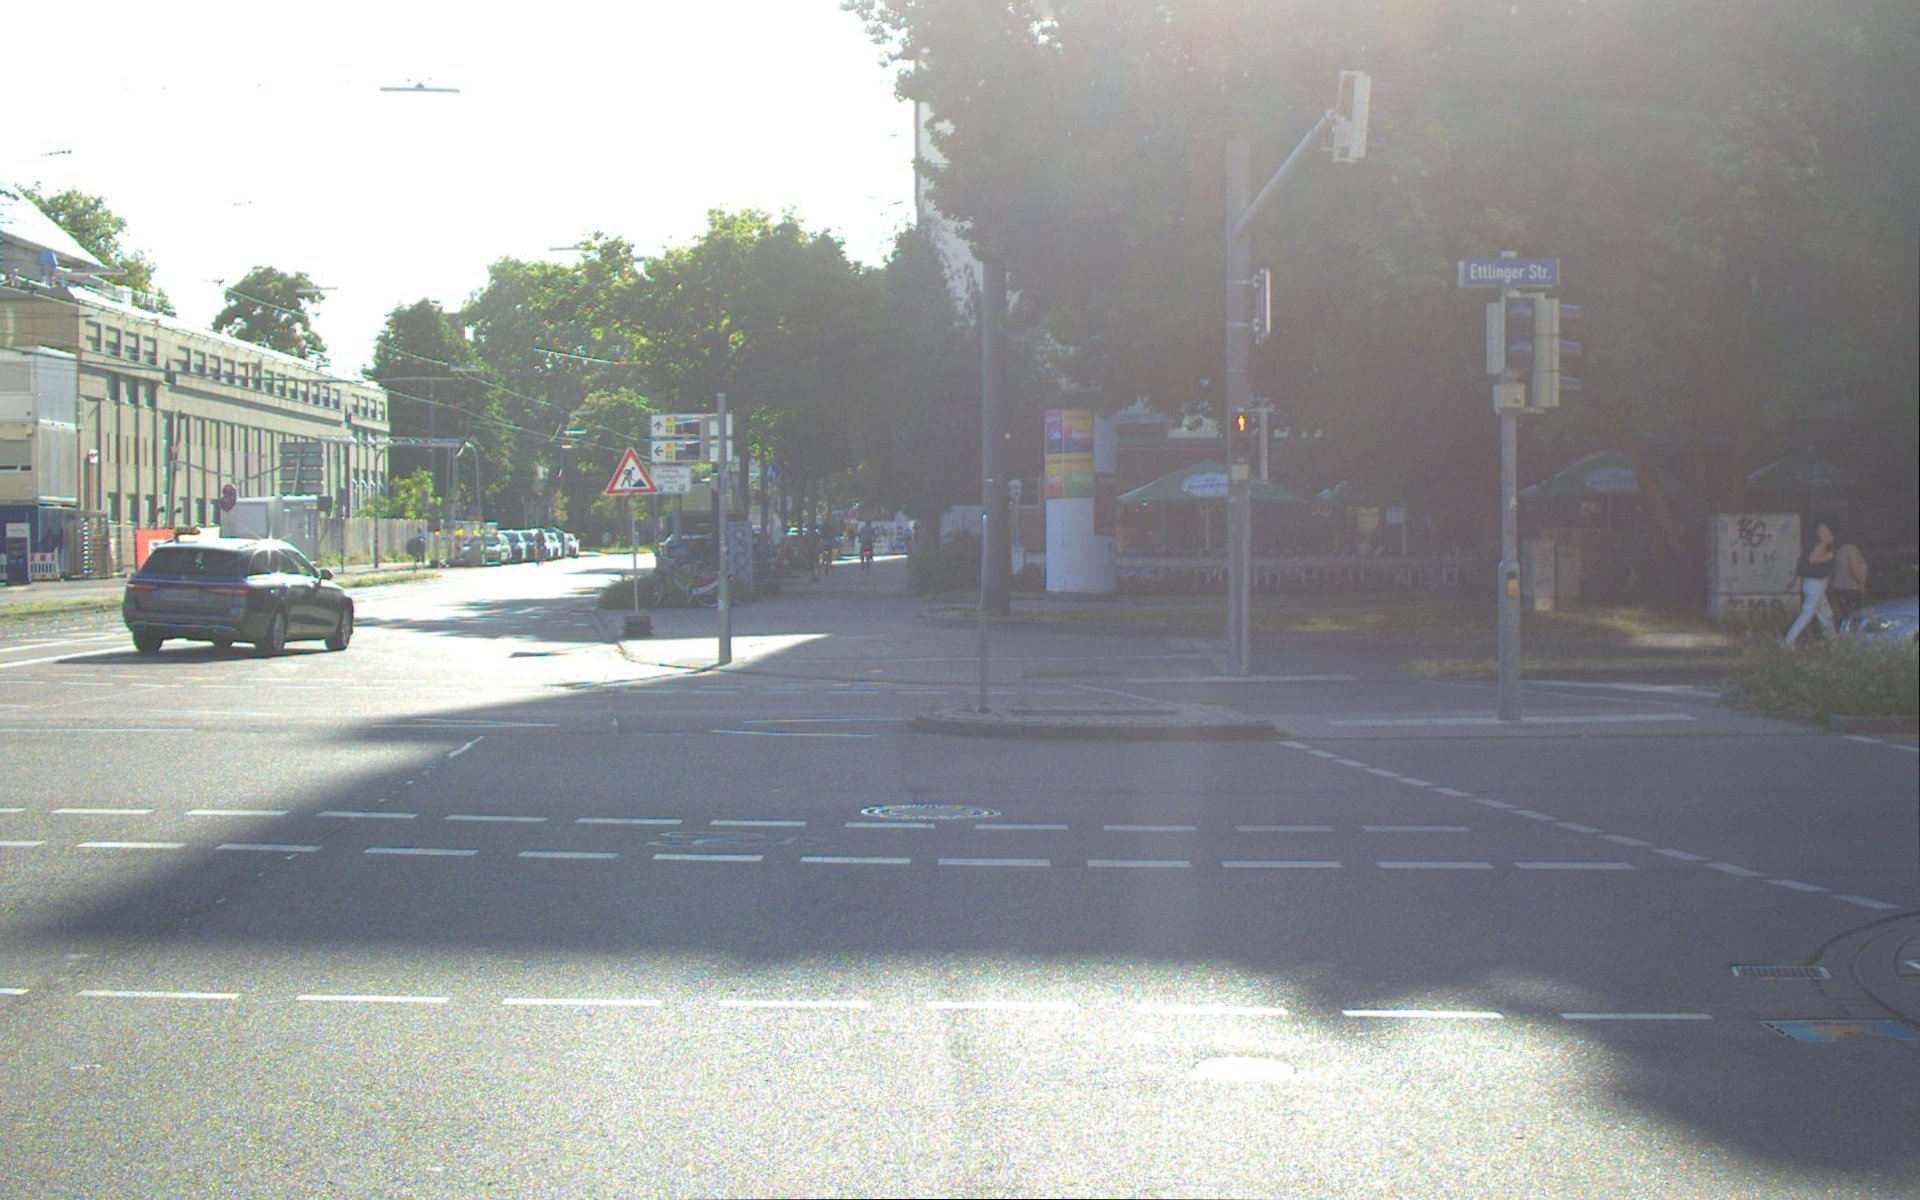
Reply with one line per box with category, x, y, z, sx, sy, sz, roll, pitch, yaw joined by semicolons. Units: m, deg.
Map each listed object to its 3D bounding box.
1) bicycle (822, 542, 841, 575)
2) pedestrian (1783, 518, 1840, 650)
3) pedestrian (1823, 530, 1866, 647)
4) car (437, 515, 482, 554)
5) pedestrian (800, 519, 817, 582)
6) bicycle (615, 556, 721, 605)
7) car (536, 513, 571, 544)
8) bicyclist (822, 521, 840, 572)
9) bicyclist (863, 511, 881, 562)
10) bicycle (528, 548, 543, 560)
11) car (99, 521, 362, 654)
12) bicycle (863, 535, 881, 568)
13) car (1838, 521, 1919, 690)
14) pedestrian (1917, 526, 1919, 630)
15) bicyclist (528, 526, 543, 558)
bicycle;-4.266;-1.378;113.962;0.575;1.073;1.831;0;1;-1
pedestrian;10.833;-0.207;43.761;0.583;1.657;0.514;1;2;2
pedestrian;11.467;-0.151;44.562;0.439;1.498;0.437;0;1;1
car;-22.766;-2.966;156.438;1.692;1.712;4.248;1;1;-4
pedestrian;-4.332;-1.418;98.239;0.463;1.807;0.503;0;1;-5
bicycle;-5.730;-0.384;67.472;2.018;0.888;0.650;-2;0;27
car;-23.001;-4.030;194.684;1.692;1.712;4.248;1;1;-4
bicyclist;-4.280;-1.777;113.967;0.569;1.685;0.700;0;1;-1
bicyclist;-2.905;-2.115;114.000;0.569;1.685;0.700;0;1;-1
bicycle;-18.371;-1.976;148.815;0.501;0.513;1.258;1;1;-1
car;-9.433;-0.205;44.850;1.892;1.560;4.806;3;1;6
bicycle;-2.921;-1.613;114.017;0.575;1.073;1.831;0;1;-1
car;10.750;0.020;33.401;3.993;1.605;1.650;-1;1;-1
pedestrian;12.321;-0.272;43.479;0.317;1.311;0.345;1;2;2
bicyclist;-18.371;-2.493;148.844;0.596;1.372;0.638;1;0;-2
